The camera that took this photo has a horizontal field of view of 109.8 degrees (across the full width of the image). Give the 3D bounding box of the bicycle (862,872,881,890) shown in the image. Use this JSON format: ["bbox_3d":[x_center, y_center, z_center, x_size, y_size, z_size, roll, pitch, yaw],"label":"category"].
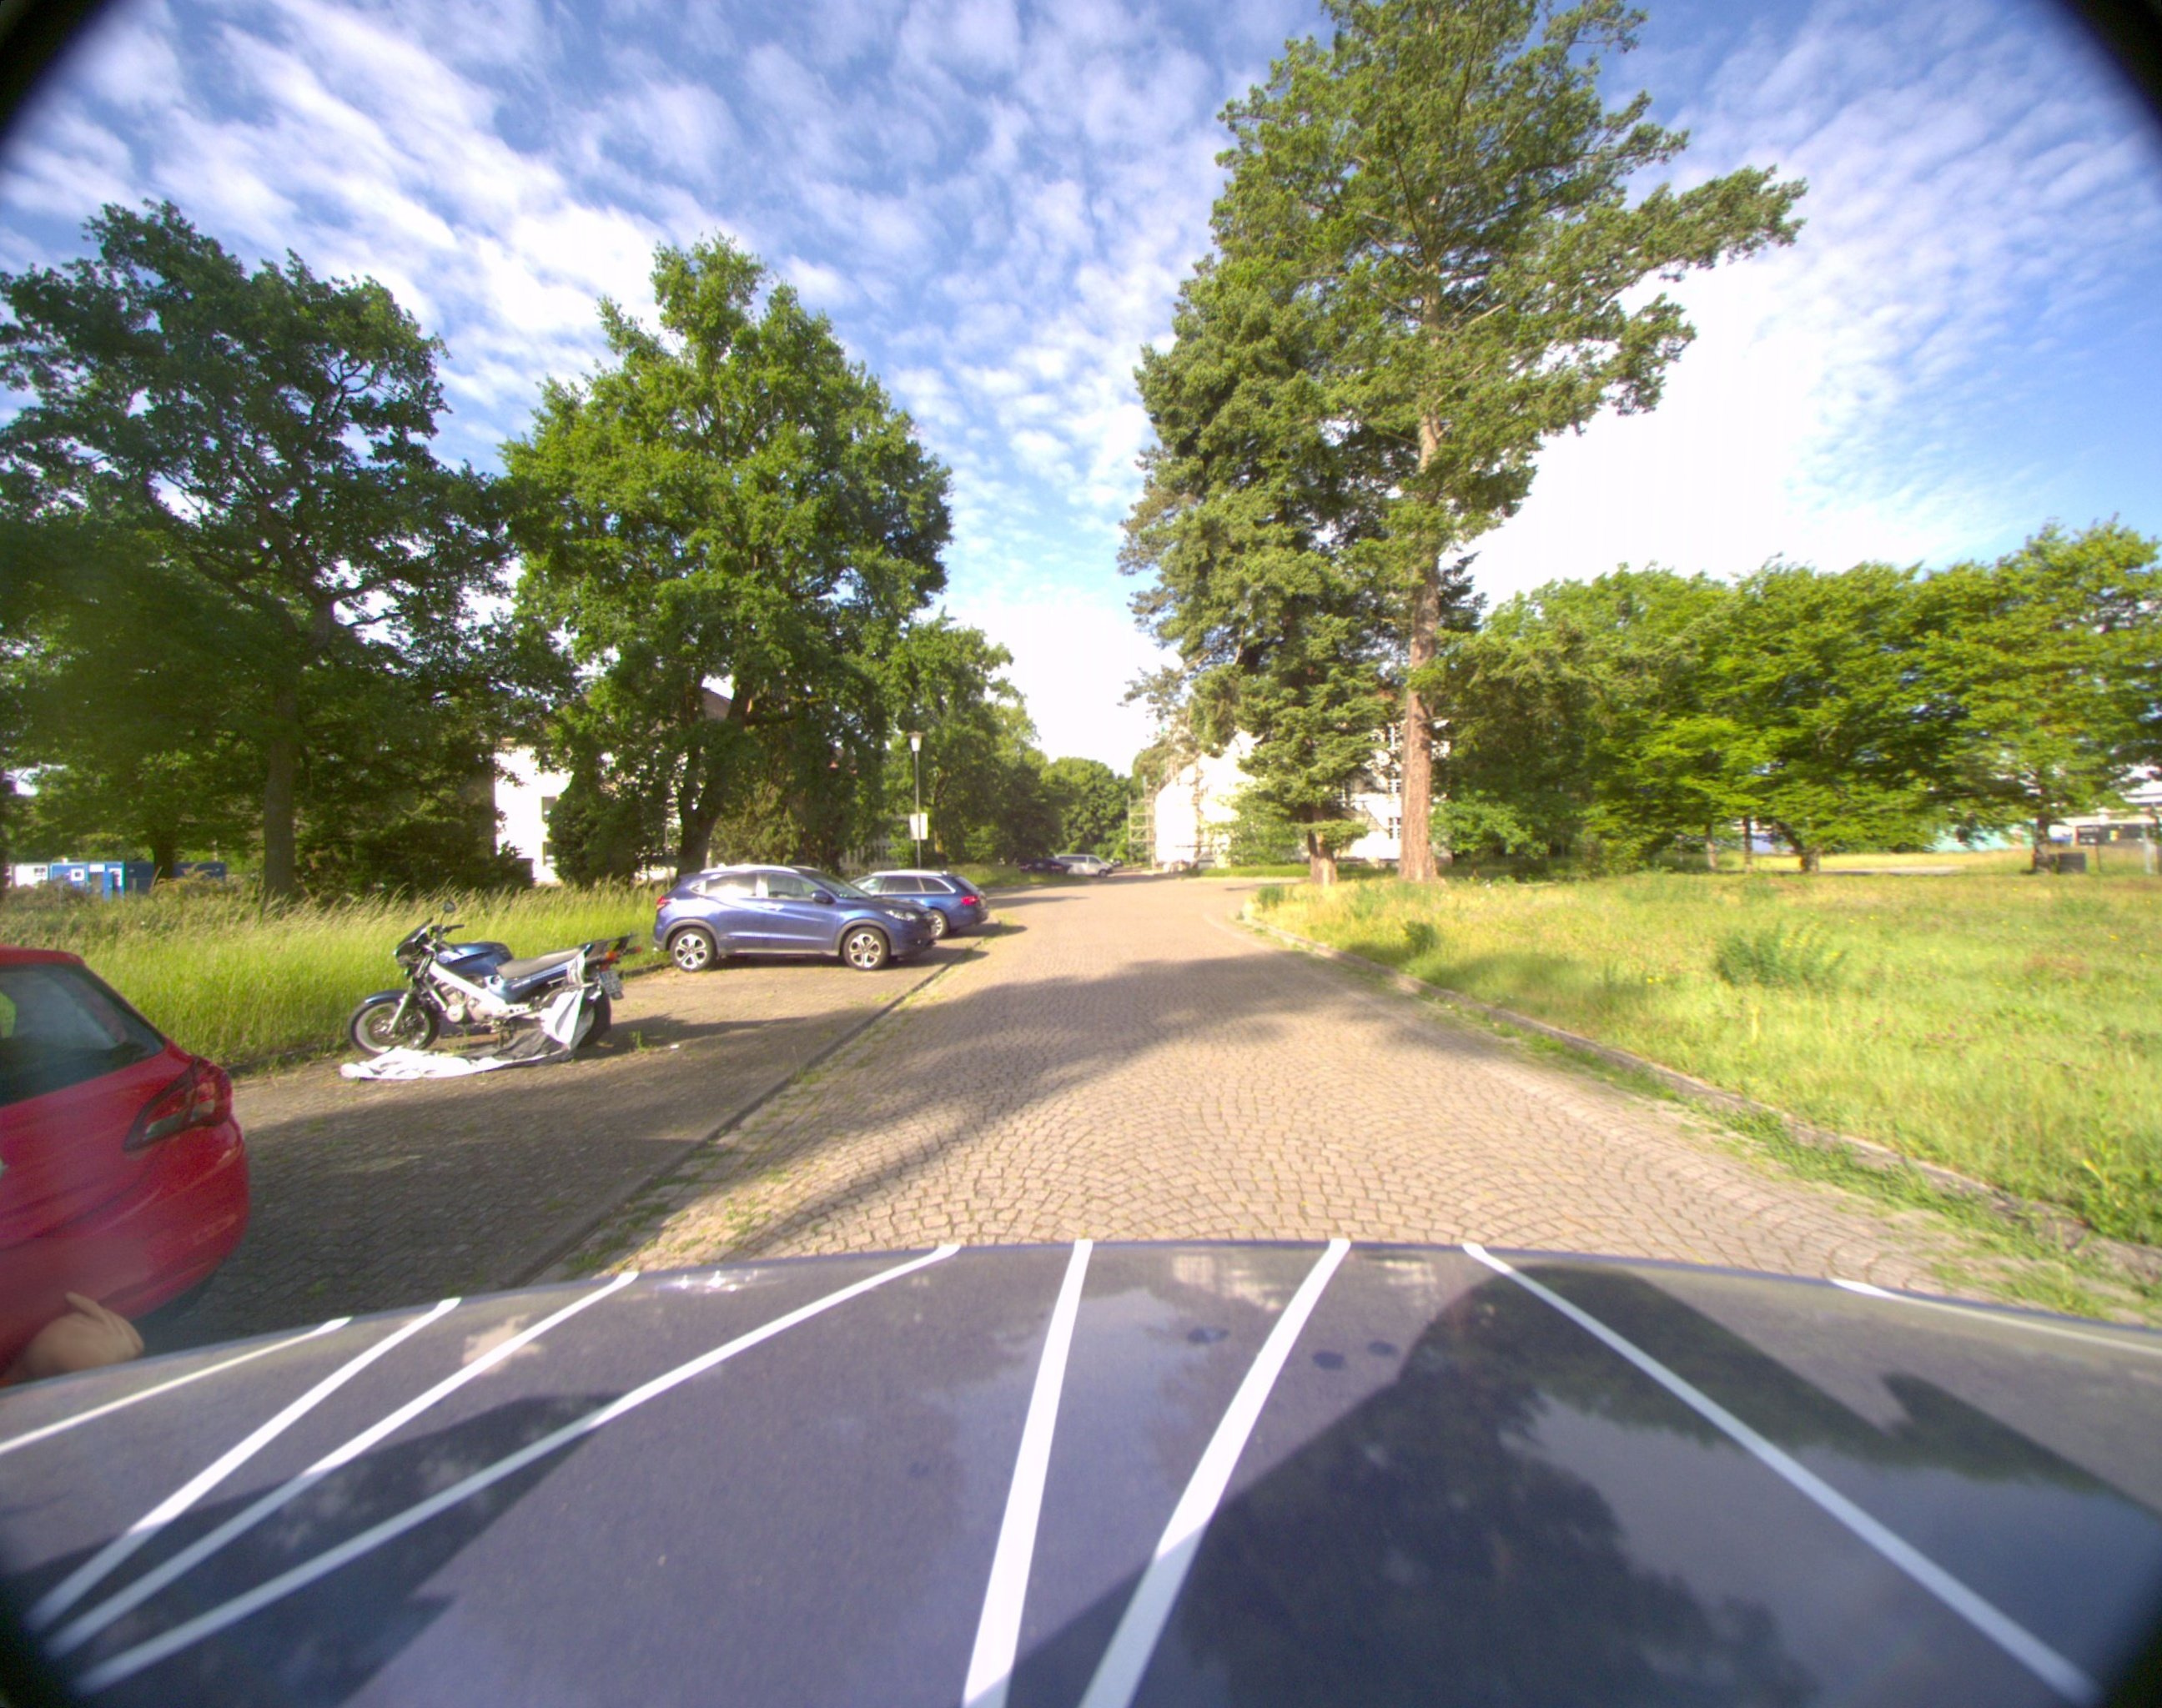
[{"bbox_3d":[-12.713,1.632,46.129,0.710,1.010,1.028,-2,0,8],"label":"bicycle"}]

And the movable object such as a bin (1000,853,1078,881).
[{"bbox_3d":[-2.910,0.902,52.612,4.931,1.749,2.002,-2,0,15],"label":"movable object such as a bin"}]

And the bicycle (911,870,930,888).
[{"bbox_3d":[-9.578,1.487,45.420,0.710,1.010,1.257,-2,0,8],"label":"bicycle"}]

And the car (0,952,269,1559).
[{"bbox_3d":[-4.692,1.091,1.763,3.837,1.470,1.645,-1,0,0],"label":"car"}]

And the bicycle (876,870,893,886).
[{"bbox_3d":[-12.988,1.577,50.221,0.712,1.010,1.024,-2,0,-37],"label":"bicycle"}]

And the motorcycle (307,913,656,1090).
[{"bbox_3d":[-4.908,1.187,6.324,2.305,1.312,0.726,-1,0,0],"label":"motorcycle"}]

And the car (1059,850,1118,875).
[{"bbox_3d":[0.675,0.741,65.565,4.936,2.002,2.000,-2,0,1],"label":"car"}]

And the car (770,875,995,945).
[{"bbox_3d":[-4.262,1.184,16.743,4.459,1.399,1.714,0,0,3],"label":"car"}]

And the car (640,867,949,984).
[{"bbox_3d":[-4.372,1.073,12.050,4.187,1.581,1.751,-2,0,0],"label":"car"}]

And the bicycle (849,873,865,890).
[{"bbox_3d":[-13.480,1.657,45.765,0.619,1.010,1.027,-2,0,3],"label":"bicycle"}]
